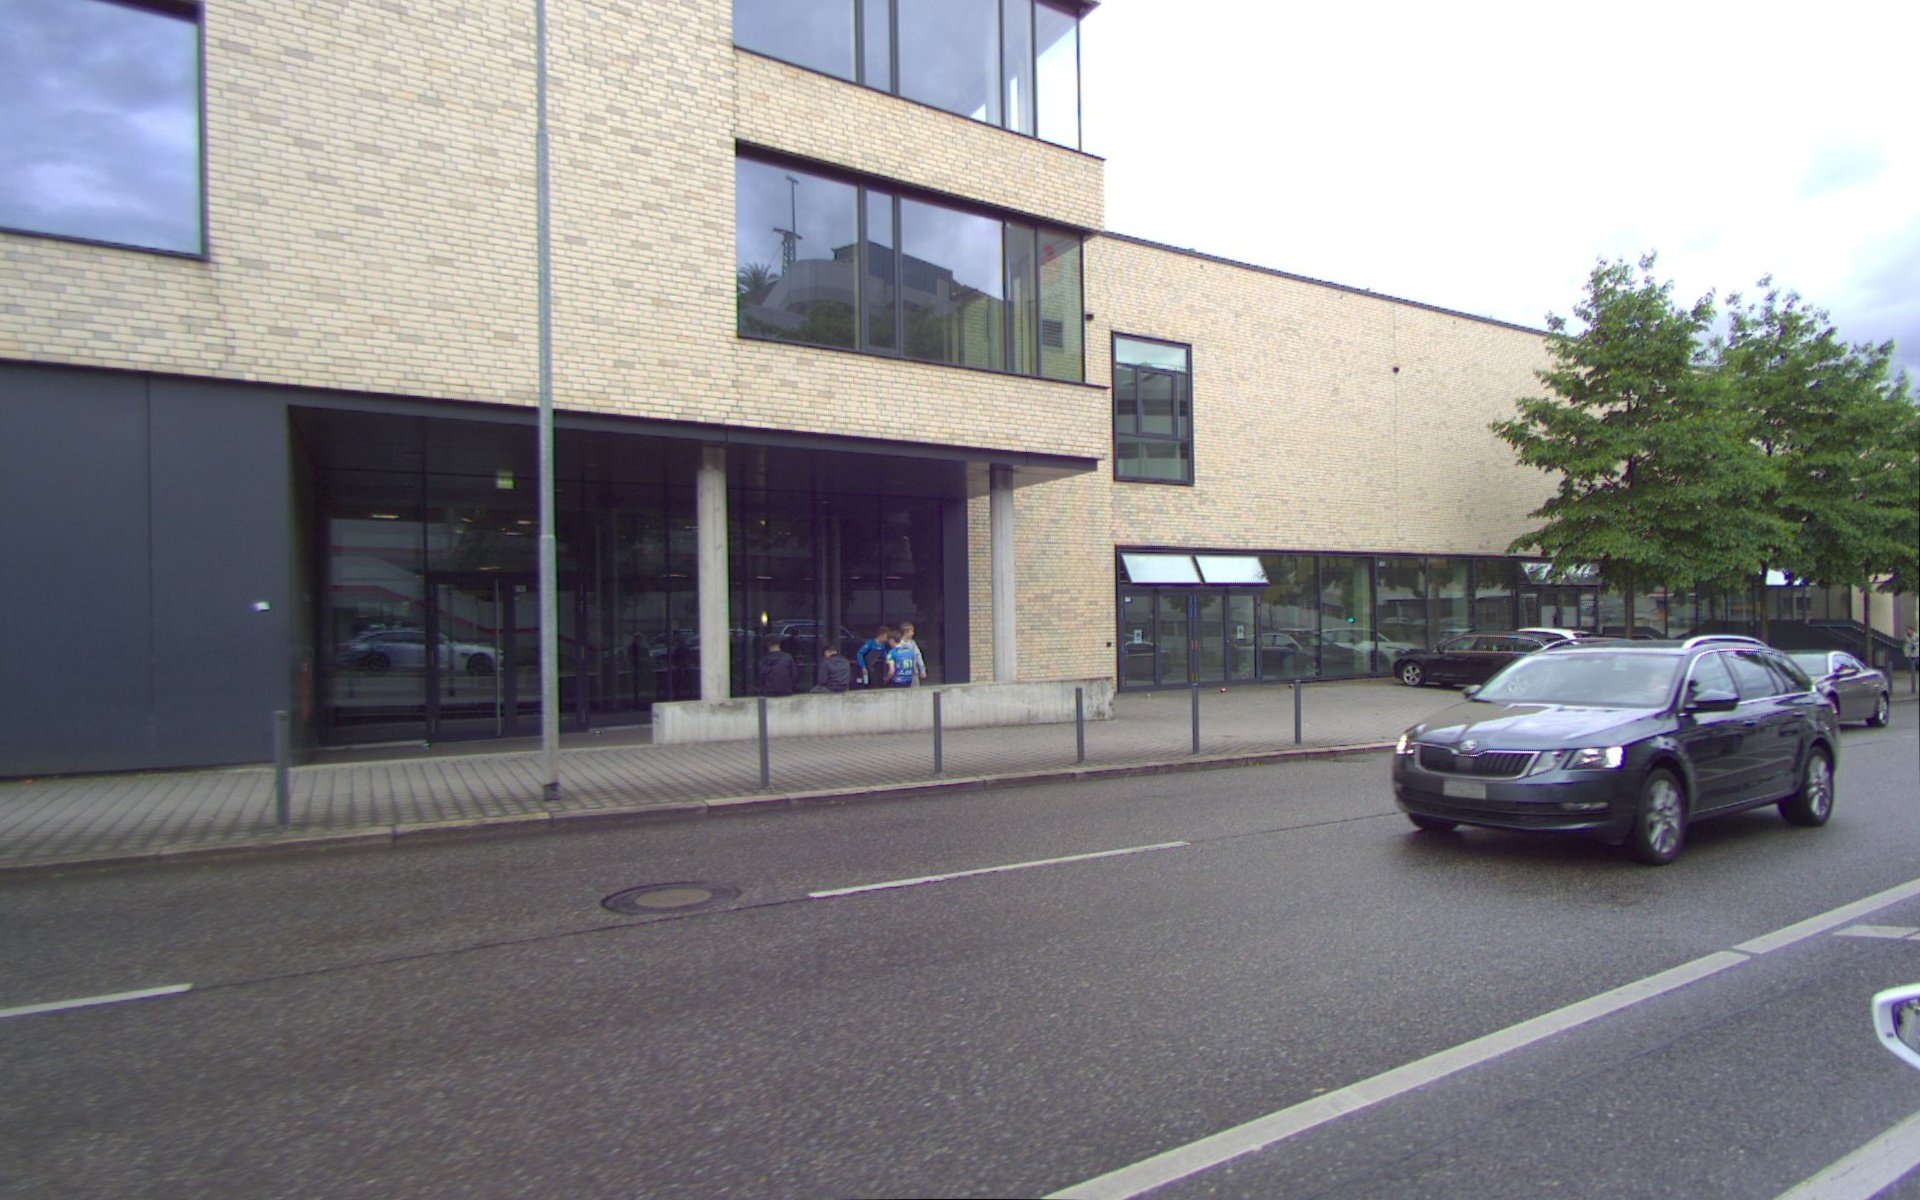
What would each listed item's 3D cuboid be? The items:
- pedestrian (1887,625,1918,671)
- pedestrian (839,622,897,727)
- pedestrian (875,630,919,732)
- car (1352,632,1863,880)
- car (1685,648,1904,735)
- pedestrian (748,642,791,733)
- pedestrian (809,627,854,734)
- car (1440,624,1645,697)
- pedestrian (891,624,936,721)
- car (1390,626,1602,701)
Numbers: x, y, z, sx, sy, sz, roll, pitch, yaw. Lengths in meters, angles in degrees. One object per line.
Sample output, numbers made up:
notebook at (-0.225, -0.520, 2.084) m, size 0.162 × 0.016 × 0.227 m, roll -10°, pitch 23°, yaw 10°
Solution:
pedestrian at (35.229, 1.784, 37.547) m, size 1.009 × 1.688 × 0.638 m, roll 2°, pitch 0°, yaw -36°
pedestrian at (-1.581, 1.261, 17.307) m, size 0.692 × 1.737 × 0.635 m, roll 2°, pitch 0°, yaw 32°
pedestrian at (-0.958, 1.218, 15.242) m, size 0.459 × 1.495 × 0.446 m, roll 2°, pitch 0°, yaw -35°
car at (5.224, 1.048, 7.964) m, size 4.242 × 1.481 × 1.802 m, roll 2°, pitch -4°, yaw -33°
car at (15.152, 1.586, 18.201) m, size 4.183 × 1.406 × 1.820 m, roll 1°, pitch -4°, yaw -32°
pedestrian at (-2.688, 1.217, 14.162) m, size 0.416 × 1.231 × 0.546 m, roll 2°, pitch 0°, yaw -27°
pedestrian at (-1.854, 1.150, 14.475) m, size 0.459 × 1.495 × 0.446 m, roll 2°, pitch 0°, yaw -35°
car at (14.919, 1.498, 25.967) m, size 1.975 × 1.568 × 4.159 m, roll 2°, pitch 0°, yaw -28°
pedestrian at (-0.735, 1.133, 15.892) m, size 0.523 × 1.495 × 0.438 m, roll 2°, pitch 0°, yaw -35°
car at (13.041, 1.494, 24.660) m, size 1.981 × 1.515 × 4.147 m, roll 2°, pitch 0°, yaw -36°
